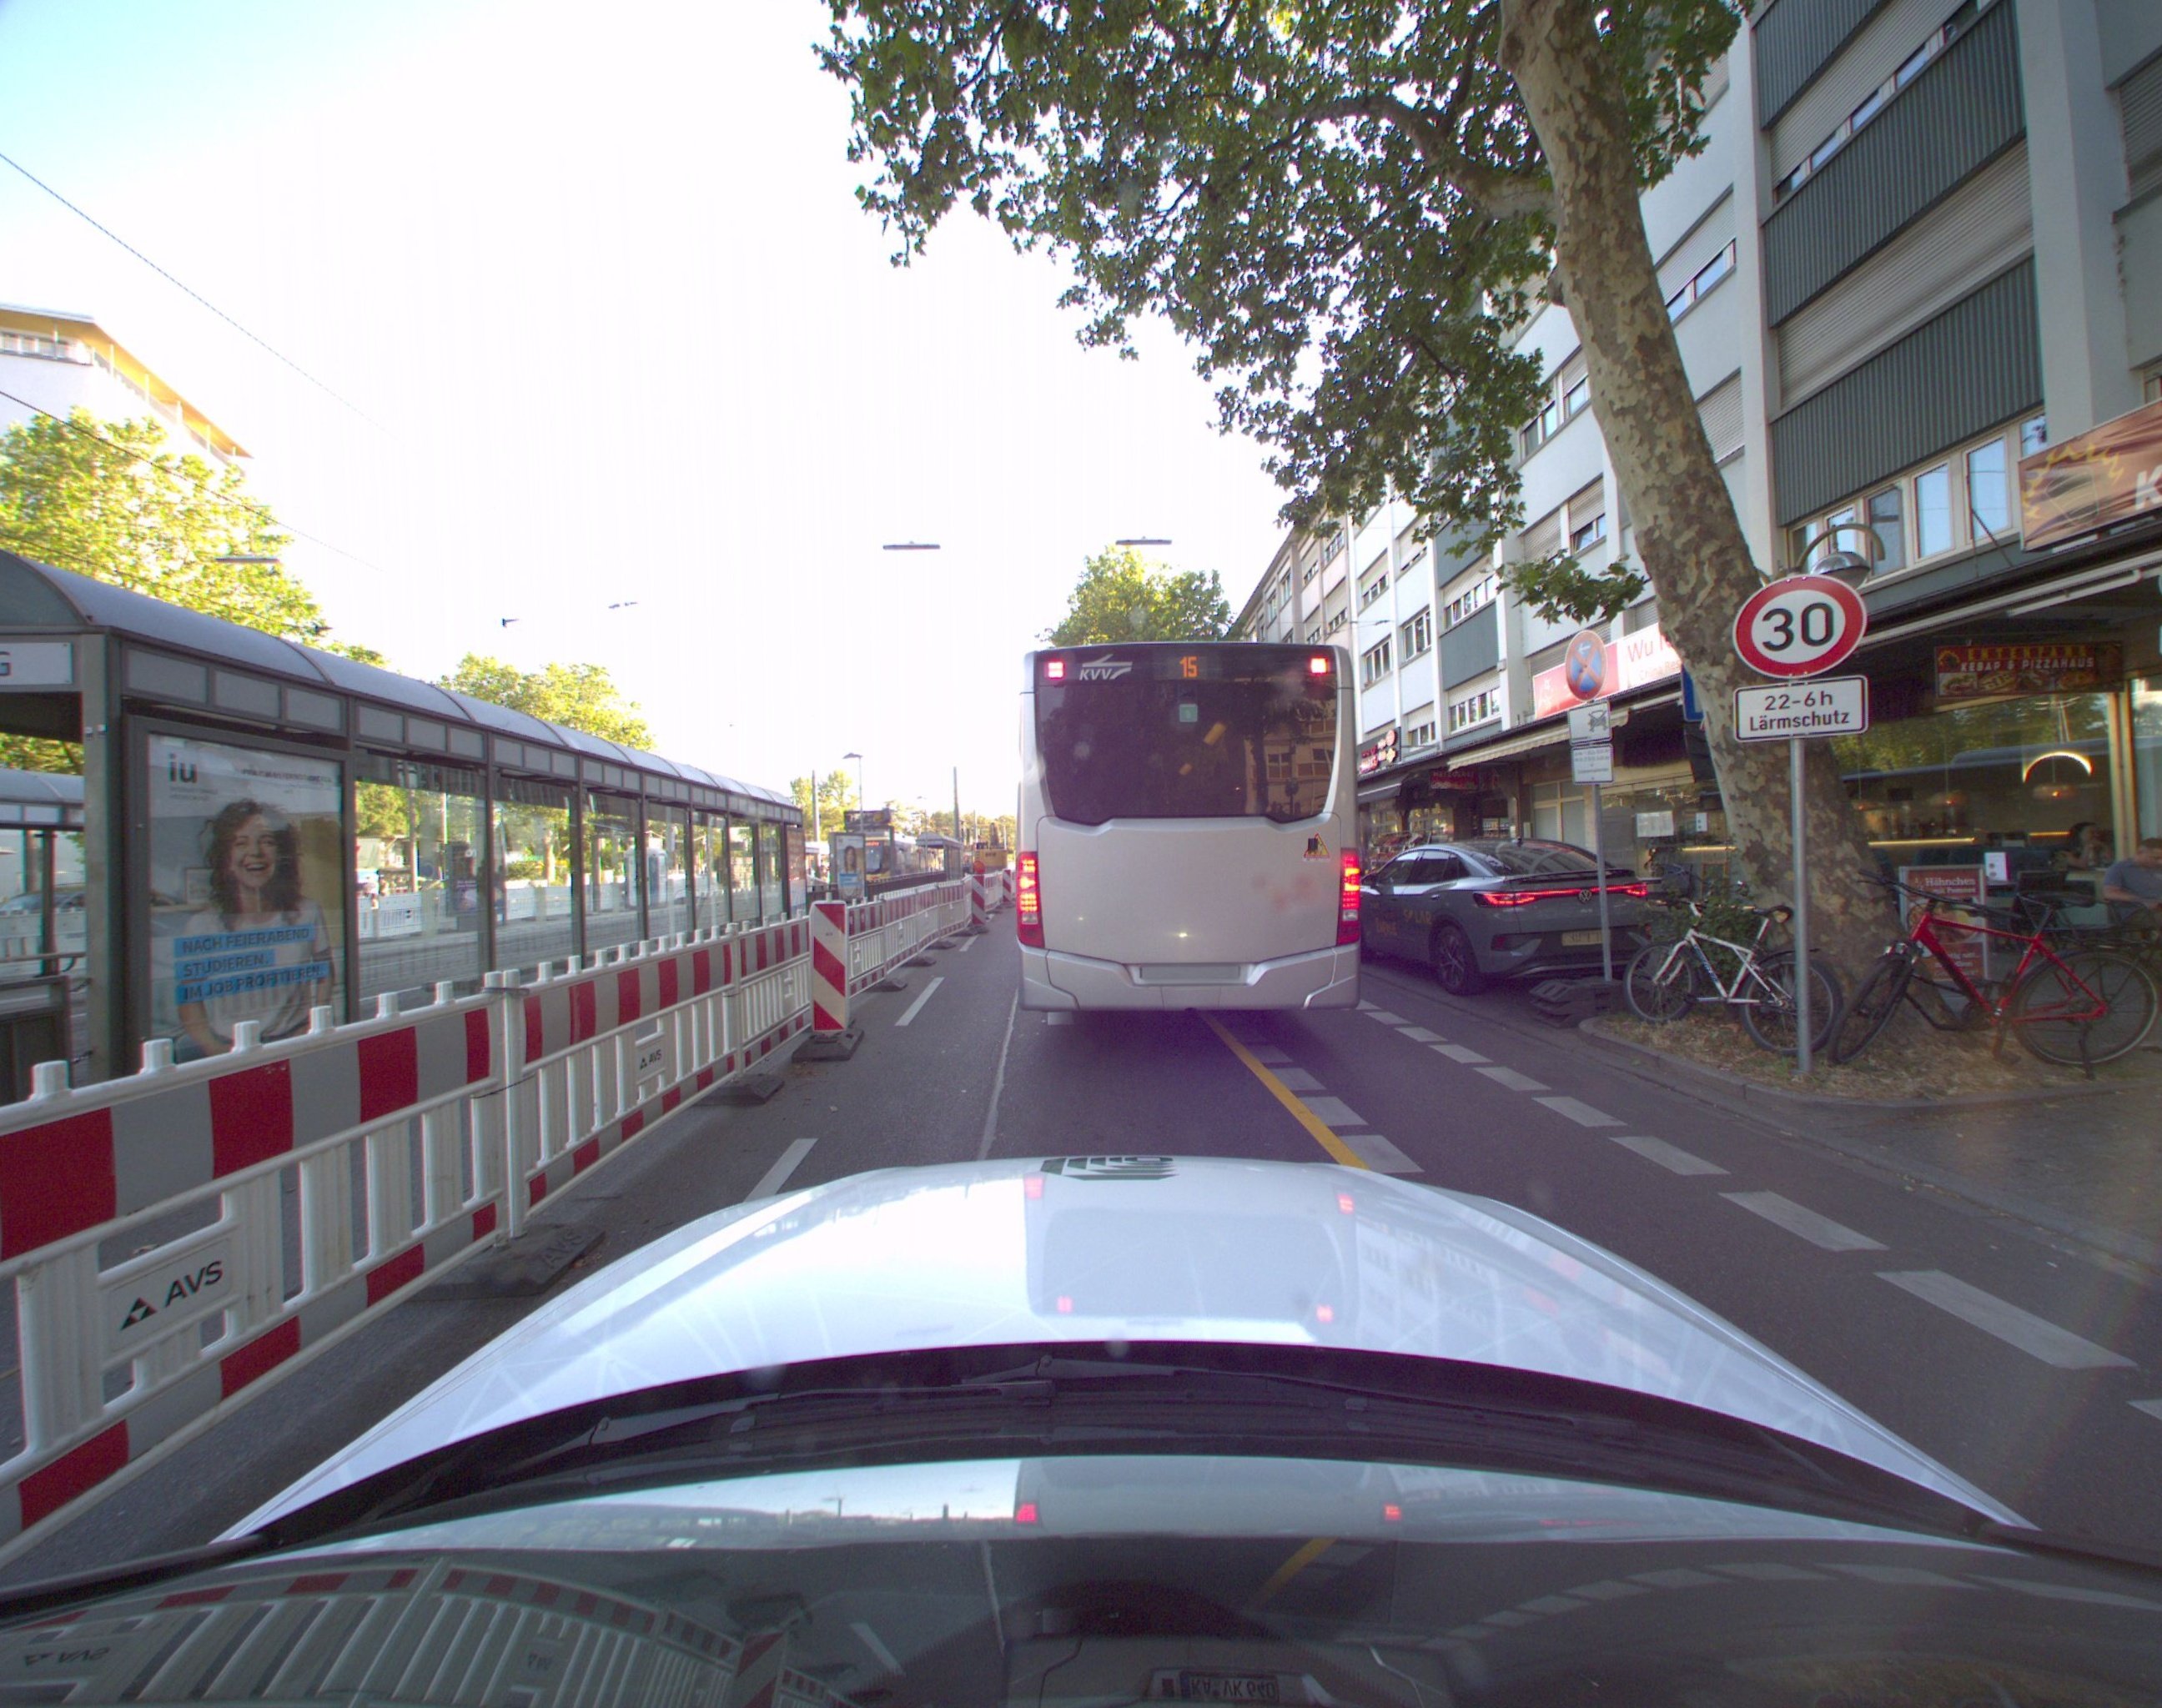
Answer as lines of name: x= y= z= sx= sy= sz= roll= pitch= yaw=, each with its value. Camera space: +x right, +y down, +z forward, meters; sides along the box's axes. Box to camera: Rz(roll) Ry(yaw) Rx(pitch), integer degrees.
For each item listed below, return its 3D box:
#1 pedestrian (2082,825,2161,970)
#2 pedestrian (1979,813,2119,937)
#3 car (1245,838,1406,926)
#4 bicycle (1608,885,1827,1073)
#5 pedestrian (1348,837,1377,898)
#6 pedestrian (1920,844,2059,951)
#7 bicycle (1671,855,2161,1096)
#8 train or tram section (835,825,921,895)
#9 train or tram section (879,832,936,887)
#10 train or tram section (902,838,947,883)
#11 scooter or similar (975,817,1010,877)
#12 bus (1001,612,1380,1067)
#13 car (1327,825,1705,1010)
pedestrian: x=9.670 y=0.369 z=7.271 sx=0.555 sy=1.245 sz=0.692 roll=-4 pitch=0 yaw=8
pedestrian: x=11.077 y=0.227 z=9.336 sx=0.836 sy=1.333 sz=0.963 roll=-2 pitch=-1 yaw=-39
car: x=5.207 y=0.543 z=18.033 sx=1.989 sy=1.582 sz=4.364 roll=-4 pitch=0 yaw=-3
bicycle: x=4.571 y=0.837 z=5.981 sx=0.550 sy=1.155 sz=1.446 roll=-2 pitch=-1 yaw=6
pedestrian: x=7.971 y=0.368 z=23.076 sx=0.658 sy=1.666 sz=0.603 roll=-4 pitch=-1 yaw=18
pedestrian: x=9.858 y=0.453 z=8.847 sx=0.643 sy=1.081 sz=0.945 roll=-2 pitch=-1 yaw=-39
bicycle: x=5.055 y=0.722 z=4.839 sx=2.370 sy=1.155 sz=0.557 roll=-7 pitch=-2 yaw=14
train or tram section: x=-11.394 y=0.368 z=47.035 sx=2.681 sy=3.534 sz=11.756 roll=0 pitch=-1 yaw=-3
train or tram section: x=-12.271 y=0.399 z=58.630 sx=2.682 sy=3.558 sz=11.559 roll=0 pitch=-1 yaw=-5
train or tram section: x=-13.335 y=0.537 z=70.162 sx=2.683 sy=3.533 sz=11.558 roll=0 pitch=-1 yaw=-6
scooter or similar: x=-6.955 y=-0.528 z=64.674 sx=2.465 sy=4.471 sz=5.961 roll=-2 pitch=-1 yaw=-5
bus: x=0.880 y=-0.075 z=9.616 sx=2.601 sy=3.126 sz=7.996 roll=0 pitch=0 yaw=2
car: x=4.734 y=0.583 z=9.781 sx=1.989 sy=1.582 sz=4.364 roll=-4 pitch=0 yaw=-3
